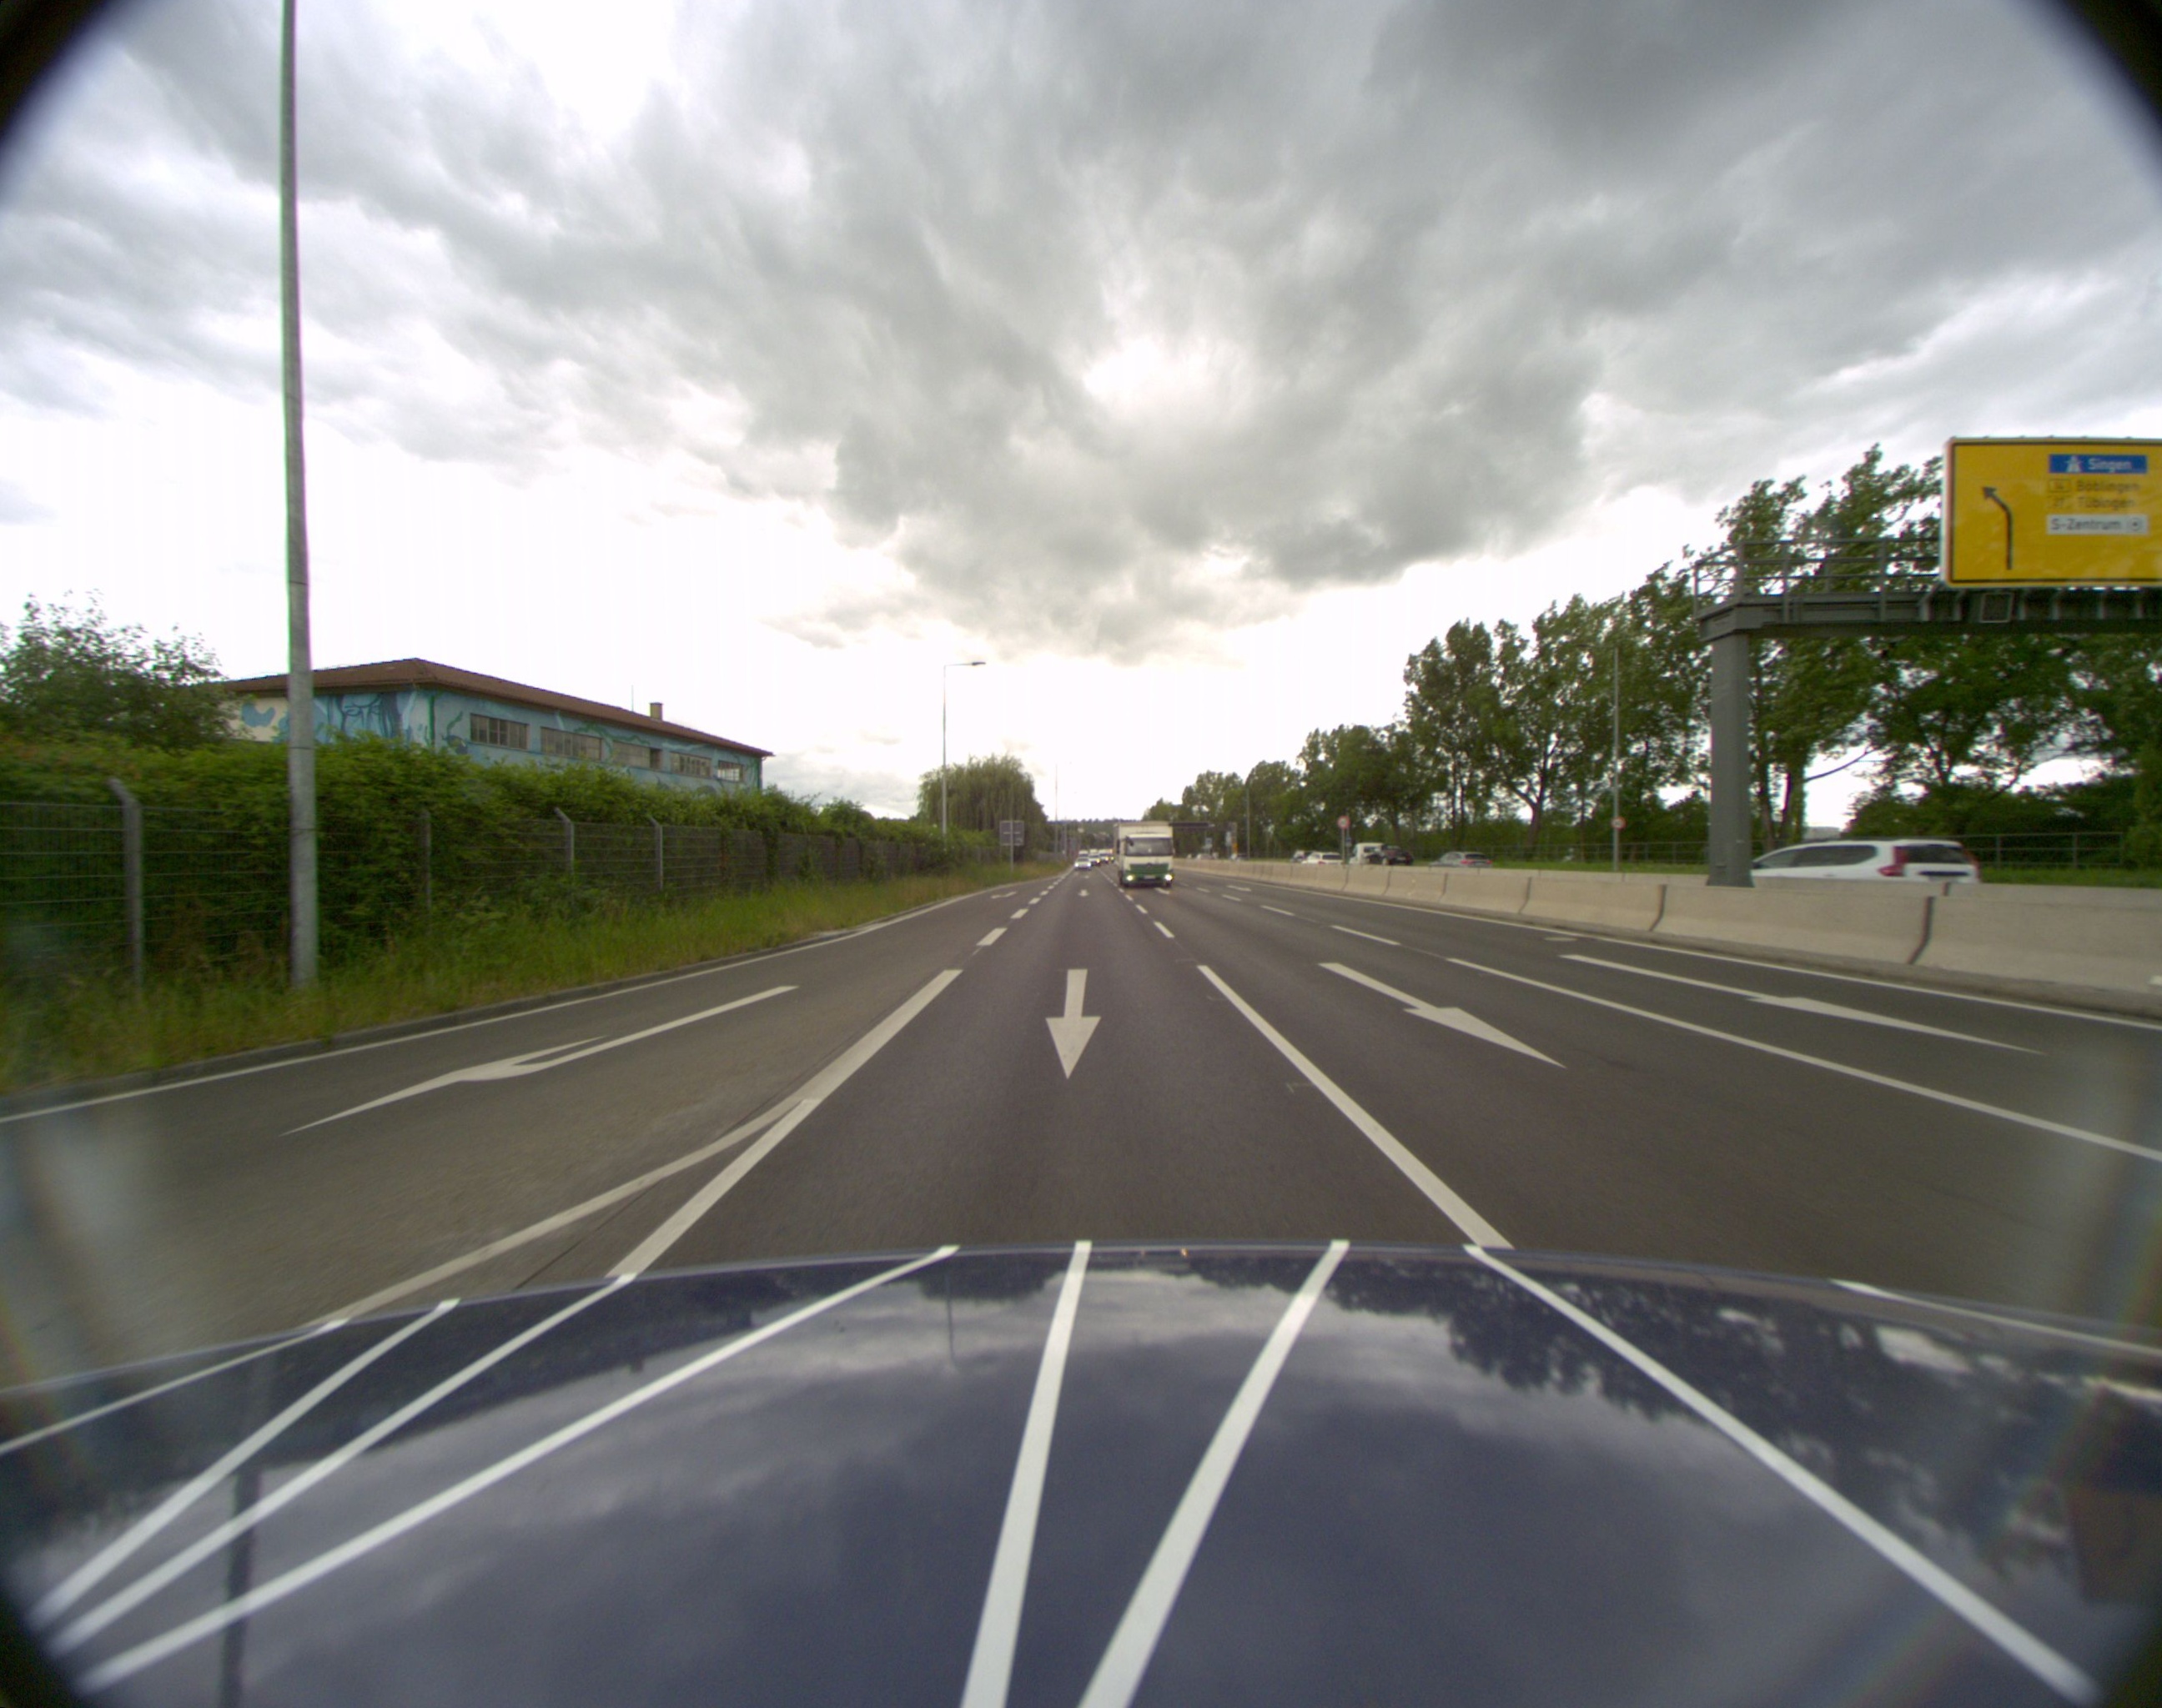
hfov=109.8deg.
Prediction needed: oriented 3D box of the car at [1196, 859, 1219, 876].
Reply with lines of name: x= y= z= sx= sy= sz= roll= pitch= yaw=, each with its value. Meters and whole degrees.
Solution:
car: x=15.490 y=1.678 z=93.535 sx=1.998 sy=2.001 sz=4.682 roll=-3 pitch=-1 yaw=1

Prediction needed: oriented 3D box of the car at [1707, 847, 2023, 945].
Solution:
car: x=15.963 y=0.786 z=15.915 sx=1.998 sy=1.674 sz=4.412 roll=-3 pitch=-1 yaw=0

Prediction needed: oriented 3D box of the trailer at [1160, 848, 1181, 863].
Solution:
trailer: x=20.818 y=0.509 z=177.235 sx=3.109 sy=3.201 sz=11.667 roll=-3 pitch=-1 yaw=-2

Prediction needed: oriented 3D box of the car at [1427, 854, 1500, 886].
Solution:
car: x=22.070 y=0.910 z=44.060 sx=1.998 sy=1.674 sz=4.412 roll=-3 pitch=-1 yaw=0

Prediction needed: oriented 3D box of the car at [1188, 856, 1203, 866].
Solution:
car: x=21.172 y=1.305 z=140.714 sx=1.998 sy=1.728 sz=4.304 roll=-3 pitch=-1 yaw=1

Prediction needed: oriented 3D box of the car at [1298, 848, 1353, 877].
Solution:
car: x=15.835 y=0.558 z=49.522 sx=1.998 sy=1.658 sz=4.695 roll=-3 pitch=-1 yaw=0

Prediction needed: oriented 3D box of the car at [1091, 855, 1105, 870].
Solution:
car: x=2.477 y=1.239 z=111.014 sx=1.998 sy=2.001 sz=4.000 roll=-3 pitch=-1 yaw=0

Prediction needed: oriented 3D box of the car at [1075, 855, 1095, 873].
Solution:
car: x=0.452 y=1.077 z=85.116 sx=1.998 sy=1.848 sz=4.000 roll=-3 pitch=-1 yaw=0

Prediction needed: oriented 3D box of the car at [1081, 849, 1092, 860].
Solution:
car: x=1.014 y=0.089 z=148.040 sx=1.998 sy=2.001 sz=4.000 roll=-3 pitch=-1 yaw=0

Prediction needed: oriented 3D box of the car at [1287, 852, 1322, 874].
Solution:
car: x=22.068 y=0.908 z=75.308 sx=1.998 sy=2.001 sz=4.937 roll=-3 pitch=-1 yaw=1

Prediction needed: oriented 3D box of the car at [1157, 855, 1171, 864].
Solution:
car: x=15.486 y=1.051 z=142.127 sx=1.998 sy=1.550 sz=4.886 roll=-3 pitch=-1 yaw=1

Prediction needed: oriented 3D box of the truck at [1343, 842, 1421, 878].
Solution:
truck: x=18.663 y=0.388 z=47.519 sx=2.210 sy=2.001 sz=6.302 roll=-3 pitch=-1 yaw=-1

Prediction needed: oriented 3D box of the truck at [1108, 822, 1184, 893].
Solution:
truck: x=3.082 y=0.205 z=38.439 sx=2.943 sy=3.064 sz=8.387 roll=-3 pitch=-1 yaw=0

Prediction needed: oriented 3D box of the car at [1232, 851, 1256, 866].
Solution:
car: x=18.808 y=0.525 z=87.947 sx=1.882 sy=1.673 sz=4.126 roll=-3 pitch=-1 yaw=0

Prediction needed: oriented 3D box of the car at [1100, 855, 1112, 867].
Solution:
car: x=4.575 y=1.326 z=141.742 sx=1.998 sy=2.001 sz=4.000 roll=-3 pitch=-1 yaw=0
